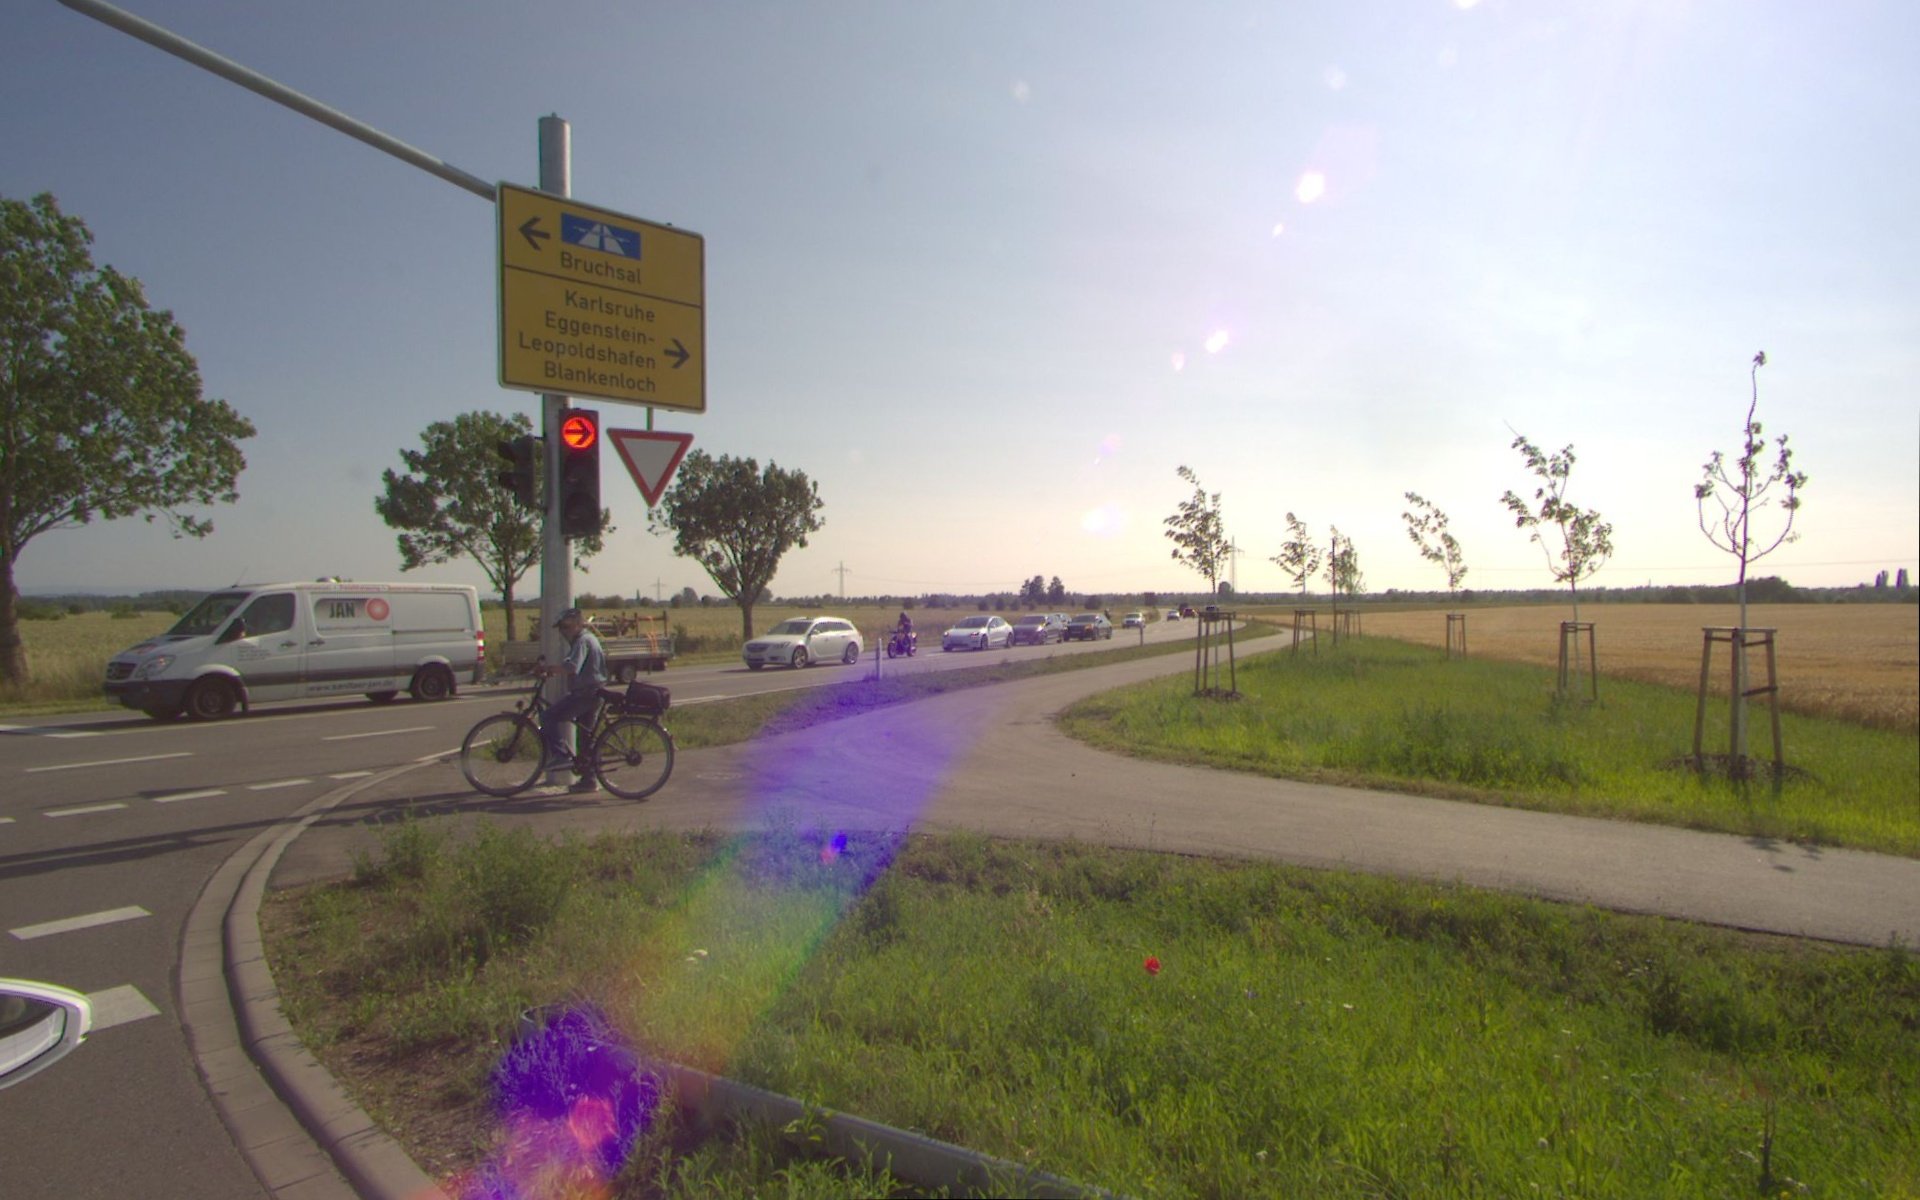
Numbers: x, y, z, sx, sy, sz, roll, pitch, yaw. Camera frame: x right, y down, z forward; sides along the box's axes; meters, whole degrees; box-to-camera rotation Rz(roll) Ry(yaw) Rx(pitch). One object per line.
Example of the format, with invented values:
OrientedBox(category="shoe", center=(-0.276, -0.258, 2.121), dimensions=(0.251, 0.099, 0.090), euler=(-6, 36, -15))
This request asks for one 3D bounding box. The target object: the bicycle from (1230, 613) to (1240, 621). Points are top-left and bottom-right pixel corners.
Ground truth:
OrientedBox(category="bicycle", center=(40.166, 2.473, 146.328), dimensions=(0.831, 1.157, 2.206), euler=(2, 0, 2))

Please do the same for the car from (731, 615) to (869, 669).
OrientedBox(category="car", center=(-4.827, 1.247, 30.902), dimensions=(1.738, 1.511, 4.690), euler=(-1, -1, 27))

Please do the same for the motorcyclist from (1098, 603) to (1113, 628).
OrientedBox(category="motorcyclist", center=(8.778, 0.948, 60.425), dimensions=(0.669, 1.515, 0.844), euler=(-1, 0, 25))

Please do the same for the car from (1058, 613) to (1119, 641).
OrientedBox(category="car", center=(7.165, 1.462, 55.525), dimensions=(1.866, 1.455, 4.779), euler=(-1, -1, 27))

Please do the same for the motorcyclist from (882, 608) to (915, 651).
OrientedBox(category="motorcyclist", center=(-2.238, 1.068, 36.576), dimensions=(0.670, 1.535, 1.176), euler=(-1, 0, 27))

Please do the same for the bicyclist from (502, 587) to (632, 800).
OrientedBox(category="bicyclist", center=(-3.448, 0.817, 8.855), dimensions=(0.901, 1.787, 0.619), euler=(3, -2, -13))

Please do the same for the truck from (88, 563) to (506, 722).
OrientedBox(category="truck", center=(-11.823, 0.702, 18.511), dimensions=(2.041, 2.436, 6.168), euler=(-1, -1, 31))

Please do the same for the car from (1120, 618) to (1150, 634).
OrientedBox(category="car", center=(16.105, 2.394, 91.956), dimensions=(1.608, 1.394, 4.409), euler=(-3, -2, 24))

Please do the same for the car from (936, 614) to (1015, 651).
OrientedBox(category="car", center=(0.726, 1.359, 42.854), dimensions=(1.865, 1.485, 4.262), euler=(-1, -1, 25))

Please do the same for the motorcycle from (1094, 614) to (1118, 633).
OrientedBox(category="motorcycle", center=(8.835, 1.430, 60.573), dimensions=(0.859, 1.087, 1.962), euler=(-1, -1, 25))

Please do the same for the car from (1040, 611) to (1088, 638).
OrientedBox(category="car", center=(6.896, 1.607, 65.911), dimensions=(1.861, 1.646, 3.987), euler=(-3, -2, 25))

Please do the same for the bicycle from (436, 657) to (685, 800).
OrientedBox(category="bicycle", center=(-3.467, 1.129, 8.865), dimensions=(1.910, 1.165, 0.681), euler=(3, -2, -13))

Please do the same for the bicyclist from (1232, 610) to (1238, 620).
OrientedBox(category="bicyclist", center=(40.163, 2.237, 146.434), dimensions=(0.627, 1.476, 0.817), euler=(2, 1, 2))

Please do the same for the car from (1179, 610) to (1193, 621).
OrientedBox(category="car", center=(36.270, 2.510, 160.983), dimensions=(1.941, 1.703, 4.105), euler=(-1, -1, 10))

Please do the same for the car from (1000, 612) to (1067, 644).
OrientedBox(category="car", center=(3.684, 1.366, 49.183), dimensions=(1.866, 1.480, 4.292), euler=(-1, -1, 25))

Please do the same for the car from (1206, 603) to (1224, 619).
OrientedBox(category="car", center=(29.979, 1.288, 117.529), dimensions=(1.812, 1.858, 4.461), euler=(1, 0, 17))

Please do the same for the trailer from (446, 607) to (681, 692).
OrientedBox(category="trailer", center=(-9.053, 1.061, 23.374), dimensions=(1.951, 1.760, 4.990), euler=(-2, -1, 29))

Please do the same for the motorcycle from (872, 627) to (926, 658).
OrientedBox(category="motorcycle", center=(-2.200, 1.540, 36.681), dimensions=(0.885, 1.057, 2.419), euler=(-1, 0, 26))

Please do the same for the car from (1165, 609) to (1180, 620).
OrientedBox(category="car", center=(29.107, 1.996, 136.967), dimensions=(1.661, 1.421, 3.994), euler=(-2, -1, 17))

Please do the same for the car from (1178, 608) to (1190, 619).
OrientedBox(category="car", center=(44.402, 2.767, 198.760), dimensions=(2.022, 2.039, 4.001), euler=(0, -2, 9))
